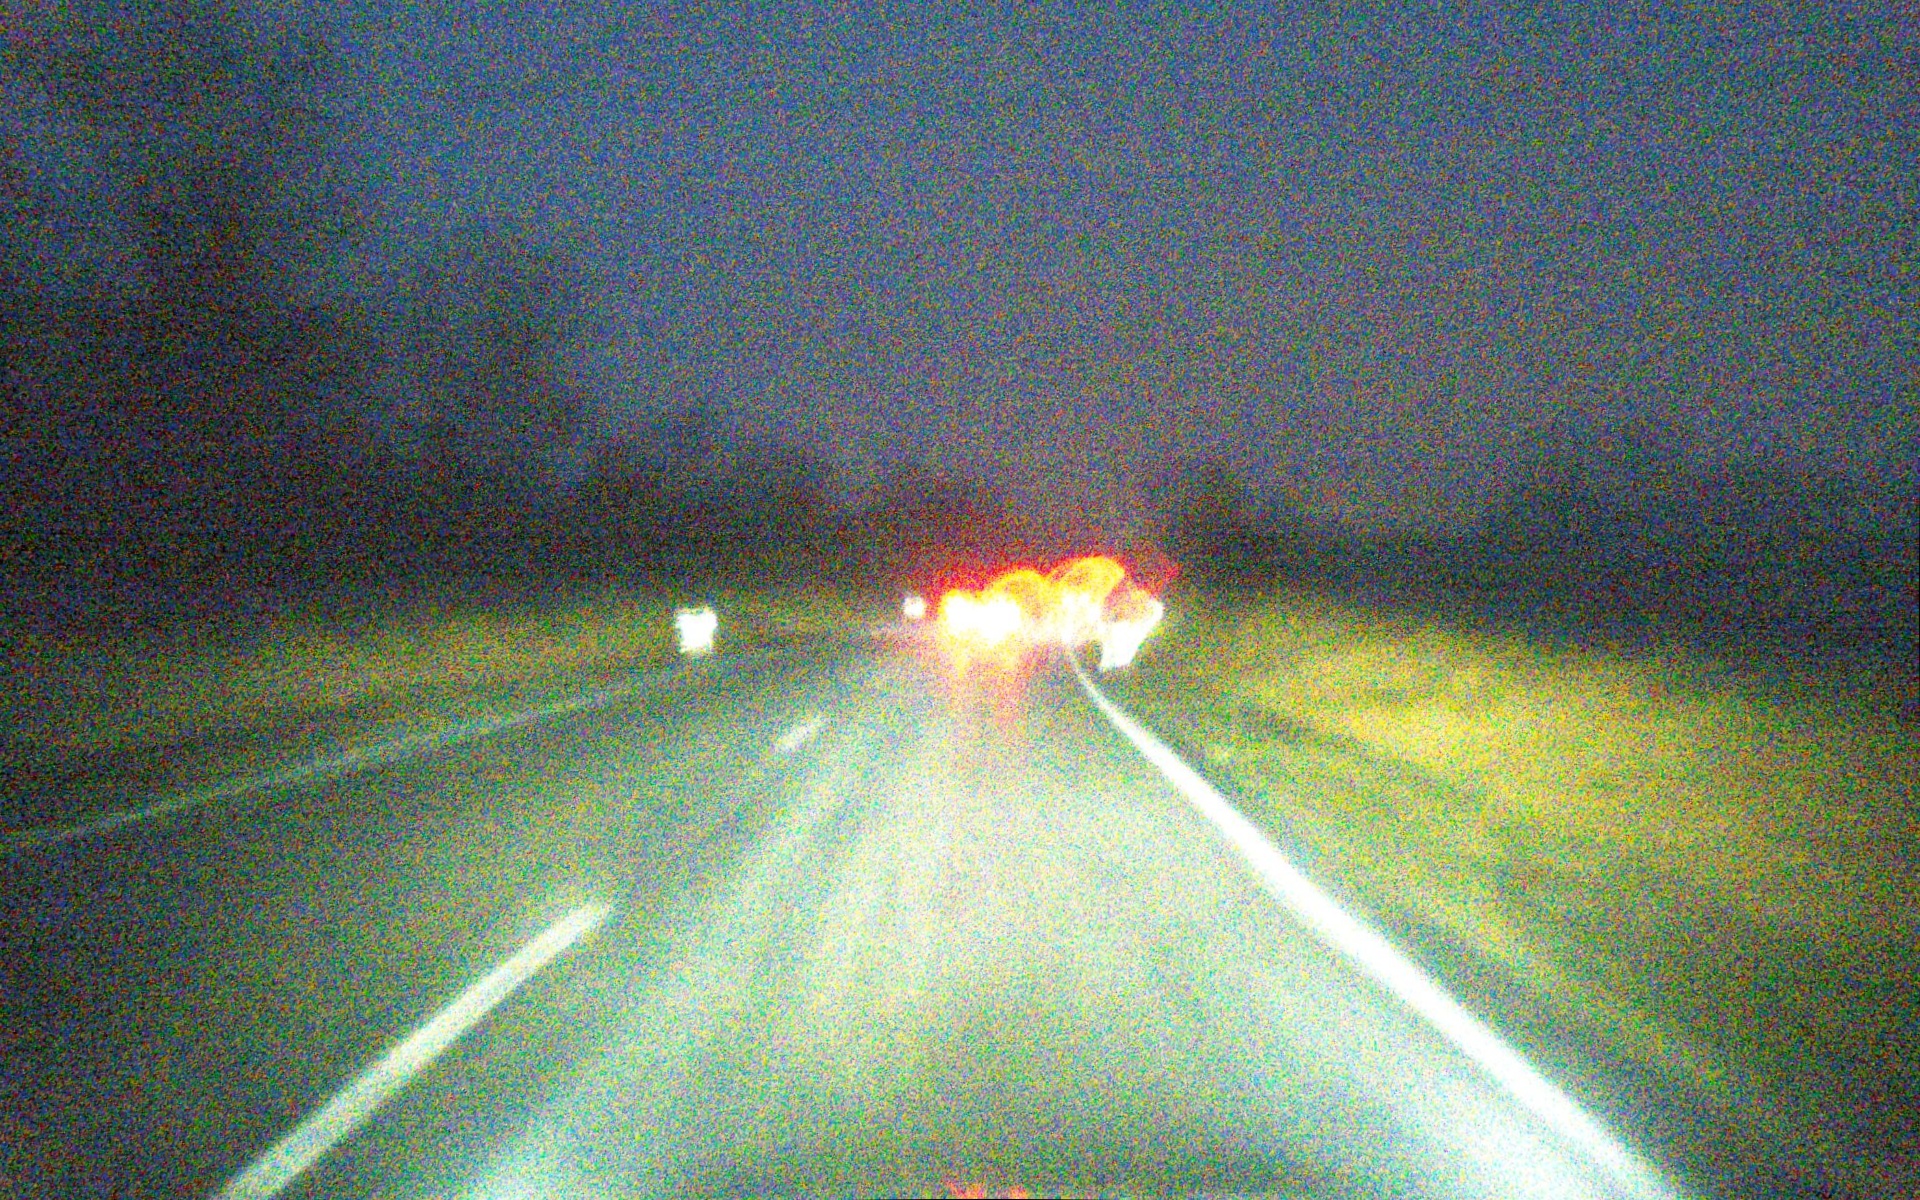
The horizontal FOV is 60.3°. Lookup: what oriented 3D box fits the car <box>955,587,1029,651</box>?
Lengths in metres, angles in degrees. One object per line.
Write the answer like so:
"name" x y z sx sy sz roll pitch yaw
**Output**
"car" 0.961 0.508 48.065 1.803 1.771 4.003 0 0 6
